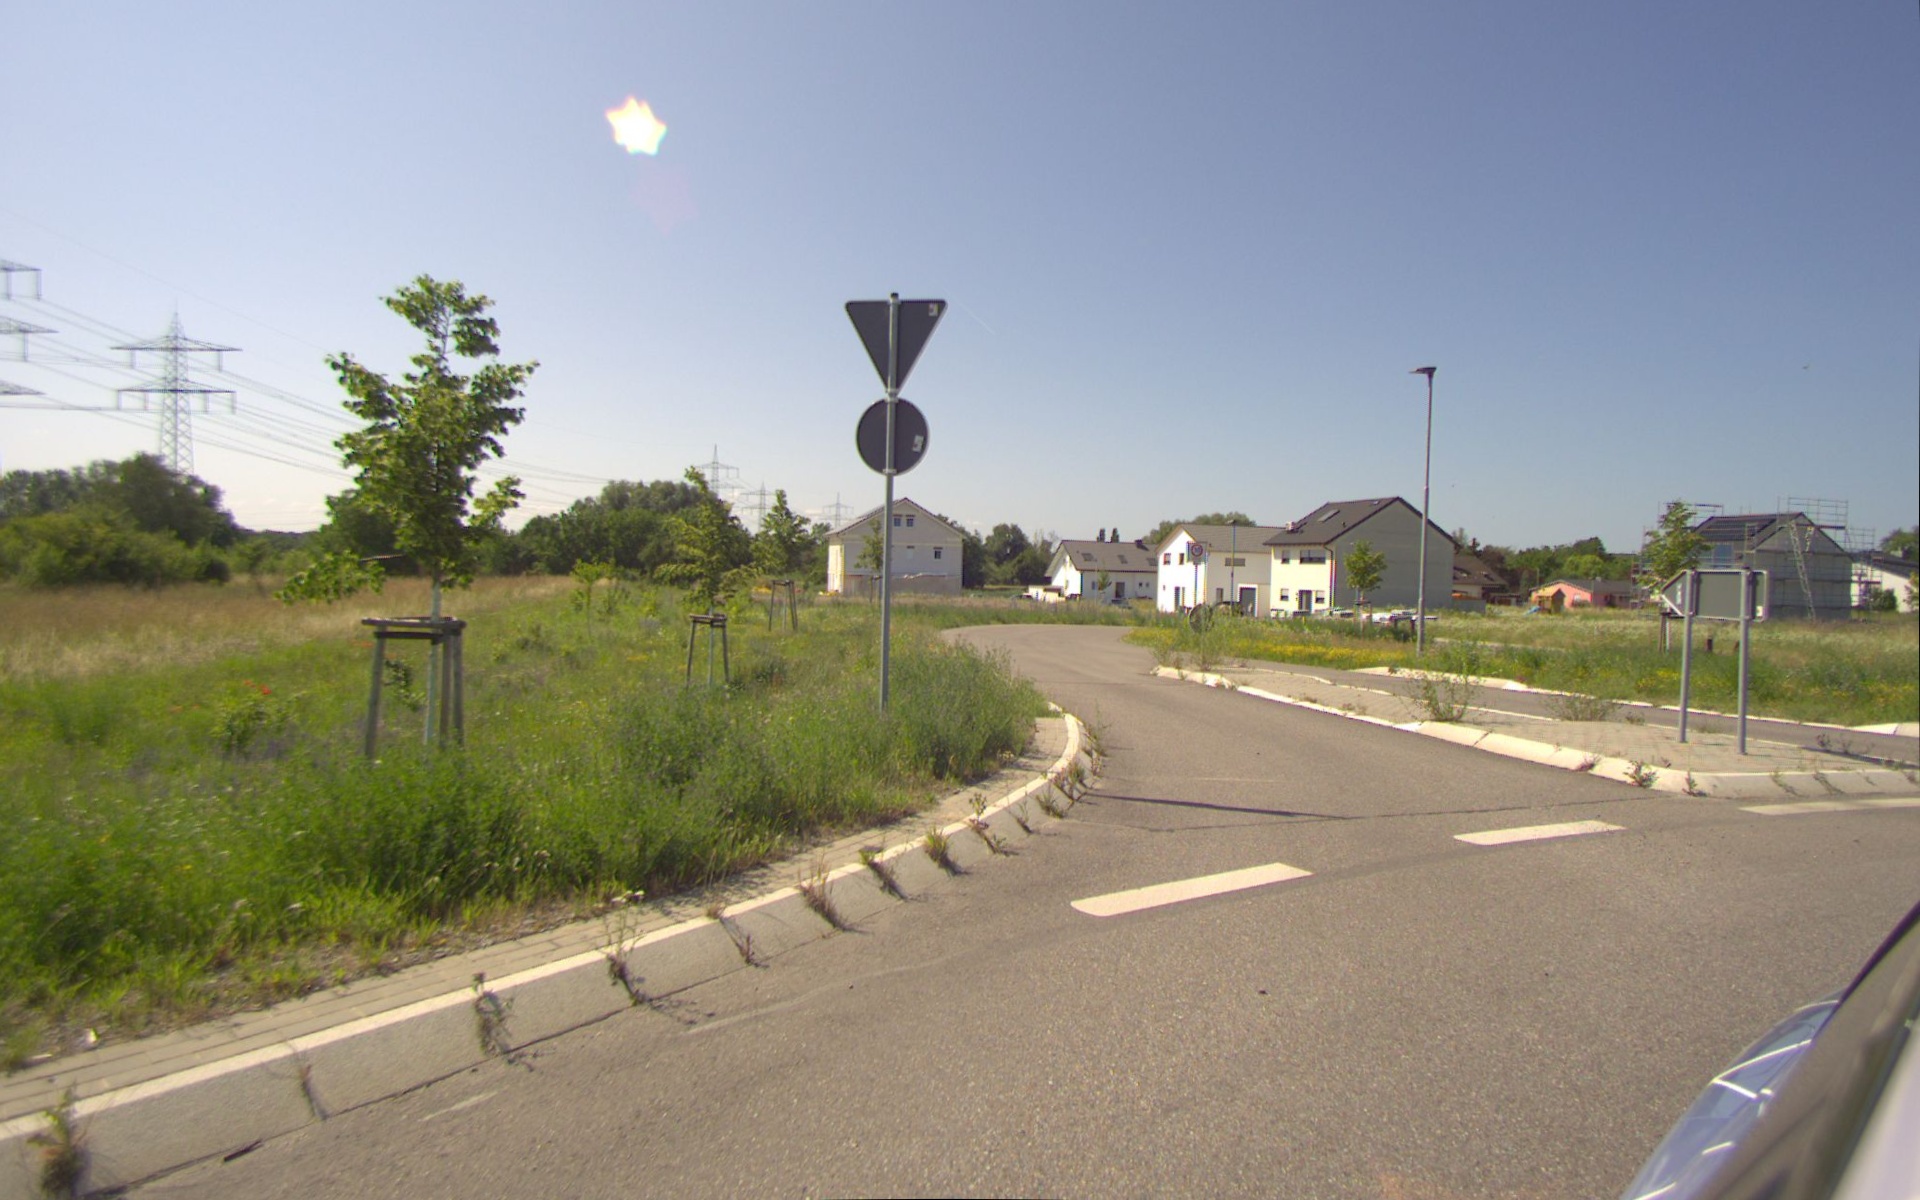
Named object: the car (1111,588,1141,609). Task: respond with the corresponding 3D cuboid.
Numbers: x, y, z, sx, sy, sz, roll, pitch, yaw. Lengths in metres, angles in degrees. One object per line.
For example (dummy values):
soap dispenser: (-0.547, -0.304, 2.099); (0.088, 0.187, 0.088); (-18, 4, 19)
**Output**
car: (14.012, -0.142, 85.555); (1.648, 1.683, 3.489); (1, 0, -4)
